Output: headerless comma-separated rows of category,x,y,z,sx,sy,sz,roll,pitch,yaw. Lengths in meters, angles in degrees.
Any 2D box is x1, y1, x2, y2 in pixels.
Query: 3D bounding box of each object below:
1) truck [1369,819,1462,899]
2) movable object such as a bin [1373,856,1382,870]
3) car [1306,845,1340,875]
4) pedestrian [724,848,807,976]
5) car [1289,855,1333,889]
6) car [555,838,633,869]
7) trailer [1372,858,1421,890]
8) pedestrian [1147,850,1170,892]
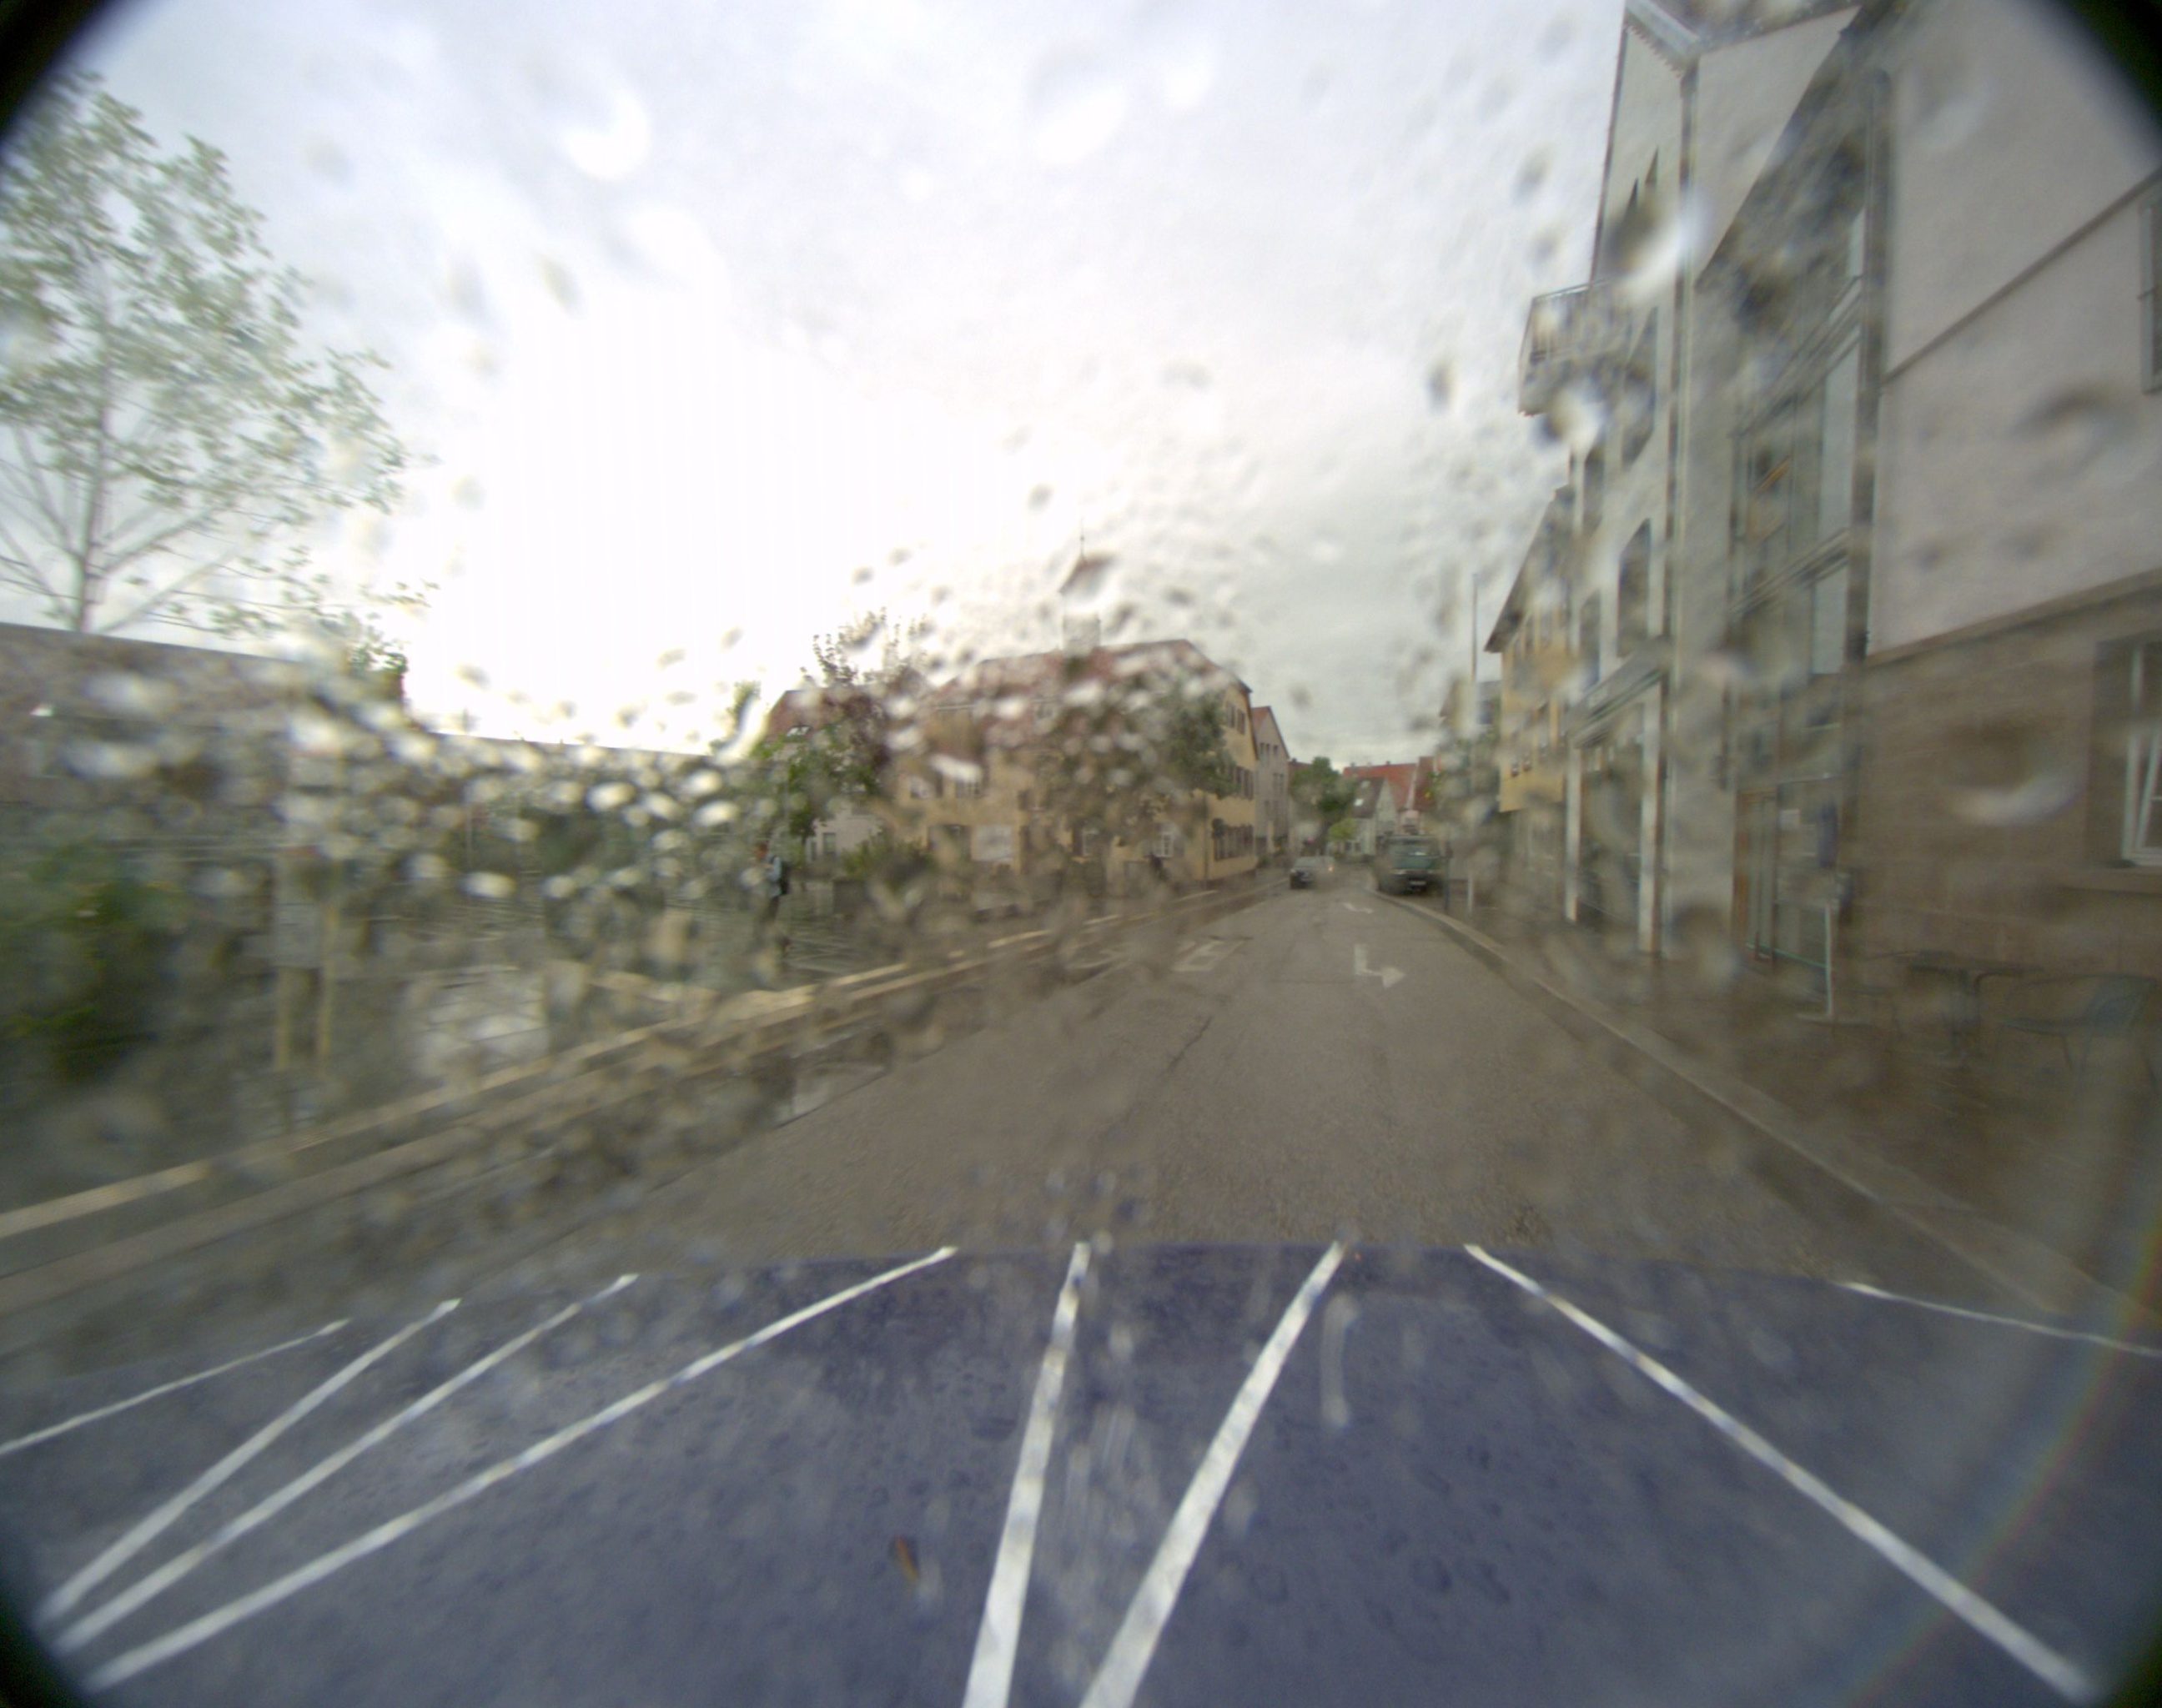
truck,13.104,0.180,30.240,2.476,2.779,6.608,1,0,16
movable object such as a bin,23.579,0.737,60.438,0.659,1.090,0.614,2,2,23
car,16.024,0.413,50.142,1.995,1.892,4.006,0,0,20
pedestrian,-4.155,0.729,10.033,0.728,1.608,0.695,2,2,24
car,11.461,0.860,37.776,1.734,1.546,3.851,-1,0,22
car,-35.791,-0.070,55.983,1.994,2.205,4.385,2,2,32
trailer,14.475,0.893,34.984,1.730,1.339,3.164,1,0,16
pedestrian,3.165,0.703,31.123,0.866,1.683,0.717,1,1,10
